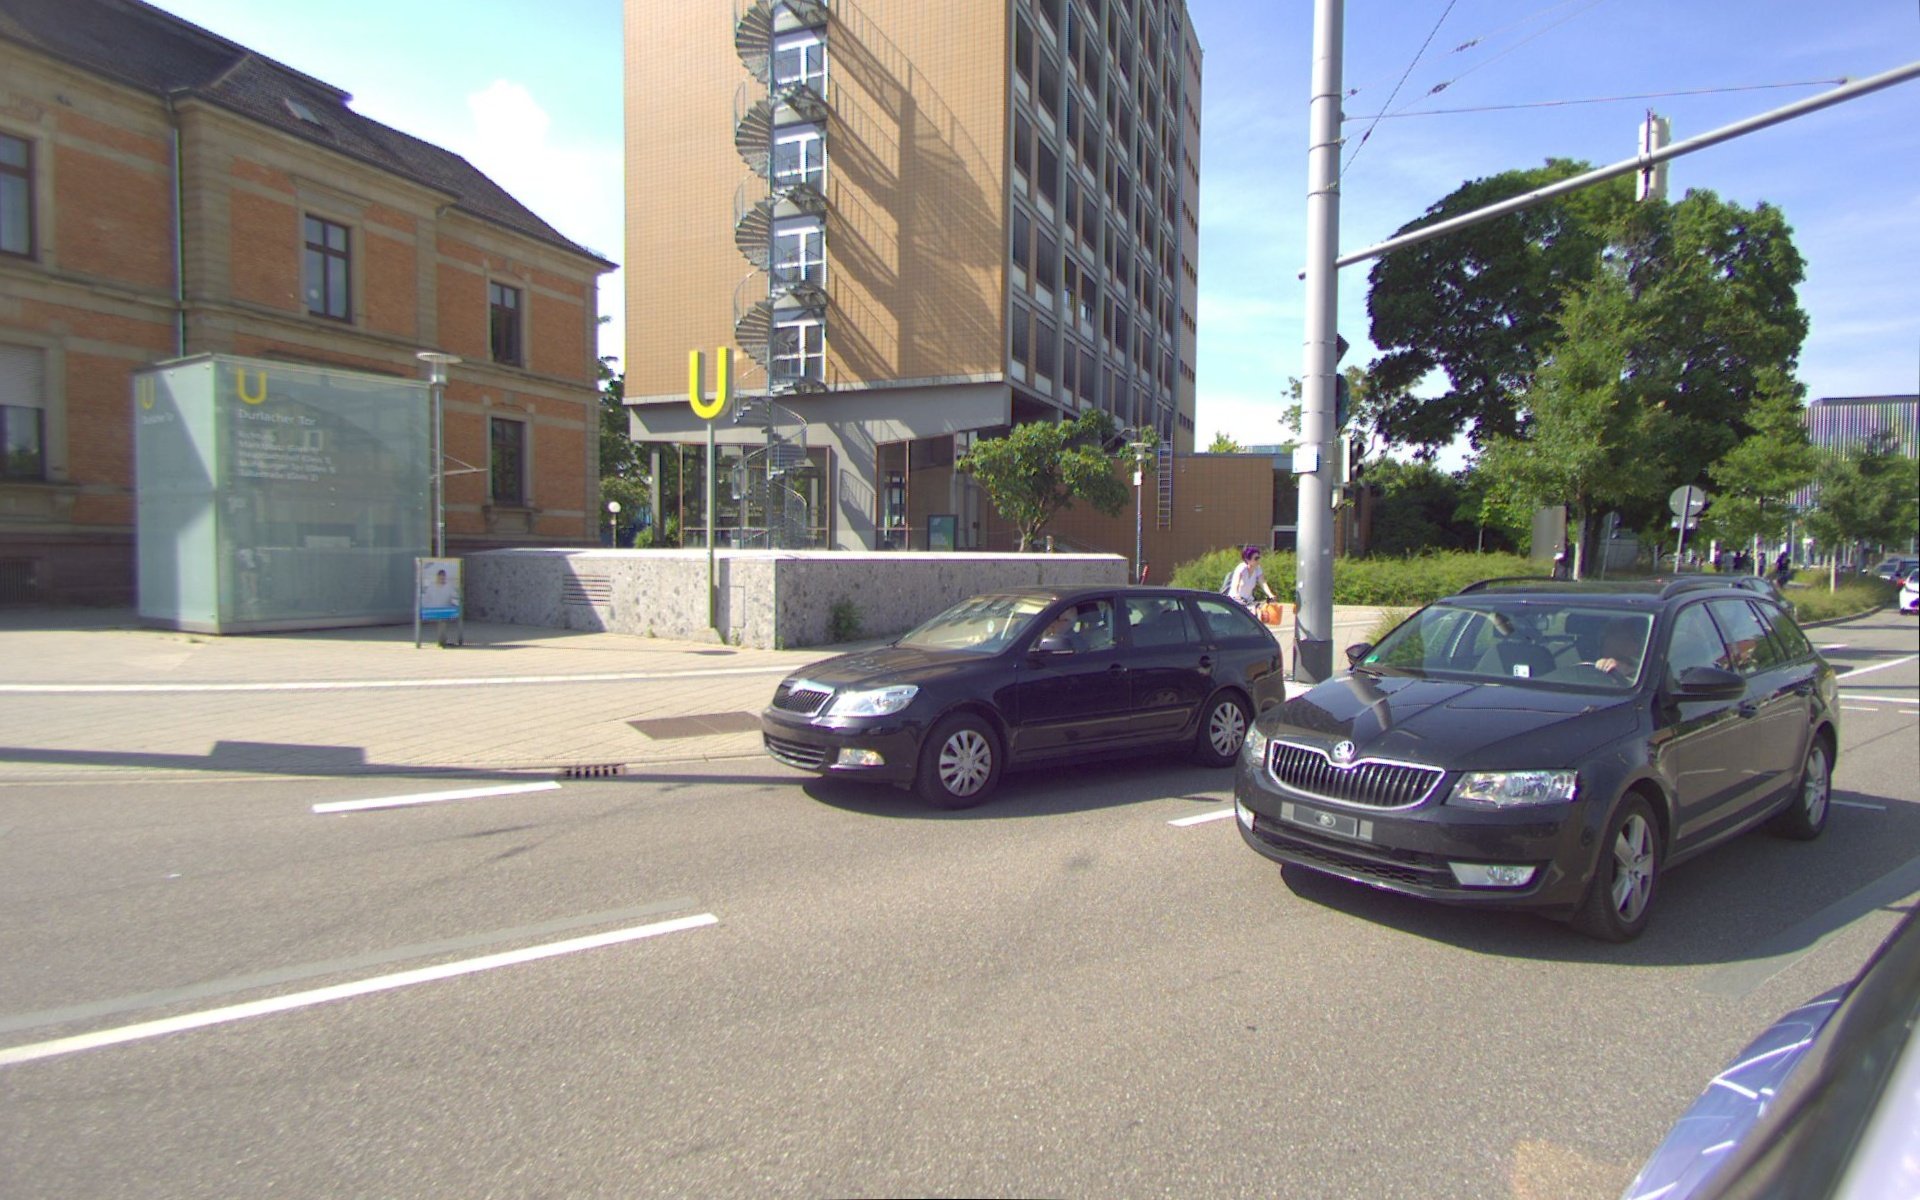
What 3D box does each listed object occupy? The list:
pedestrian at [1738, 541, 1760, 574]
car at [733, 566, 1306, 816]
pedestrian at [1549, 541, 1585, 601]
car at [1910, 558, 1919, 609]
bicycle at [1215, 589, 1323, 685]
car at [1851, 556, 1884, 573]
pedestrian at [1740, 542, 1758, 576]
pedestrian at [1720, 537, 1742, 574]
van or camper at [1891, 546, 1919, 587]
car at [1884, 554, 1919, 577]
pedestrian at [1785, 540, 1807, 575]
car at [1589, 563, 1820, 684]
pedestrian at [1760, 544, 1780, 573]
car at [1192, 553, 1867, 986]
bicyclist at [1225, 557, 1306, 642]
[{"bbox_3d":[39.751,-2.139,51.013,0.718,1.646,0.644,-2,5,-37],"label":"pedestrian"},{"bbox_3d":[0.620,0.518,7.824,4.315,1.447,1.705,0,0,-36],"label":"car"},{"bbox_3d":[17.428,-0.850,29.046,0.718,1.683,0.593,-2,5,-37],"label":"pedestrian"},{"bbox_3d":[30.805,-0.561,31.552,1.677,1.493,3.703,0,2,43],"label":"car"},{"bbox_3d":[4.022,0.446,13.352,0.702,1.027,1.922,1,5,-3],"label":"bicycle"},{"bbox_3d":[73.961,-2.895,82.534,1.480,1.310,3.445,0,2,33],"label":"car"},{"bbox_3d":[41.149,-2.141,52.787,0.639,1.785,0.470,3,4,32],"label":"pedestrian"},{"bbox_3d":[39.315,-2.256,51.596,0.718,1.859,0.644,-2,5,-37],"label":"pedestrian"},{"bbox_3d":[47.257,-1.691,49.508,1.718,1.911,4.865,0,2,33],"label":"van or camper"},{"bbox_3d":[54.924,-2.010,58.716,1.482,1.309,3.442,2,3,36],"label":"car"},{"bbox_3d":[41.632,-2.133,50.395,0.738,1.693,0.644,-2,5,-37],"label":"pedestrian"},{"bbox_3d":[10.981,0.228,14.811,4.448,1.453,1.635,-3,3,-39],"label":"car"},{"bbox_3d":[41.888,-2.133,52.341,0.639,1.463,0.563,3,5,32],"label":"pedestrian"},{"bbox_3d":[3.433,0.503,5.615,4.694,1.453,1.635,-3,3,-39],"label":"car"},{"bbox_3d":[4.021,-0.028,13.385,0.702,1.041,0.918,1,5,-3],"label":"bicyclist"}]
